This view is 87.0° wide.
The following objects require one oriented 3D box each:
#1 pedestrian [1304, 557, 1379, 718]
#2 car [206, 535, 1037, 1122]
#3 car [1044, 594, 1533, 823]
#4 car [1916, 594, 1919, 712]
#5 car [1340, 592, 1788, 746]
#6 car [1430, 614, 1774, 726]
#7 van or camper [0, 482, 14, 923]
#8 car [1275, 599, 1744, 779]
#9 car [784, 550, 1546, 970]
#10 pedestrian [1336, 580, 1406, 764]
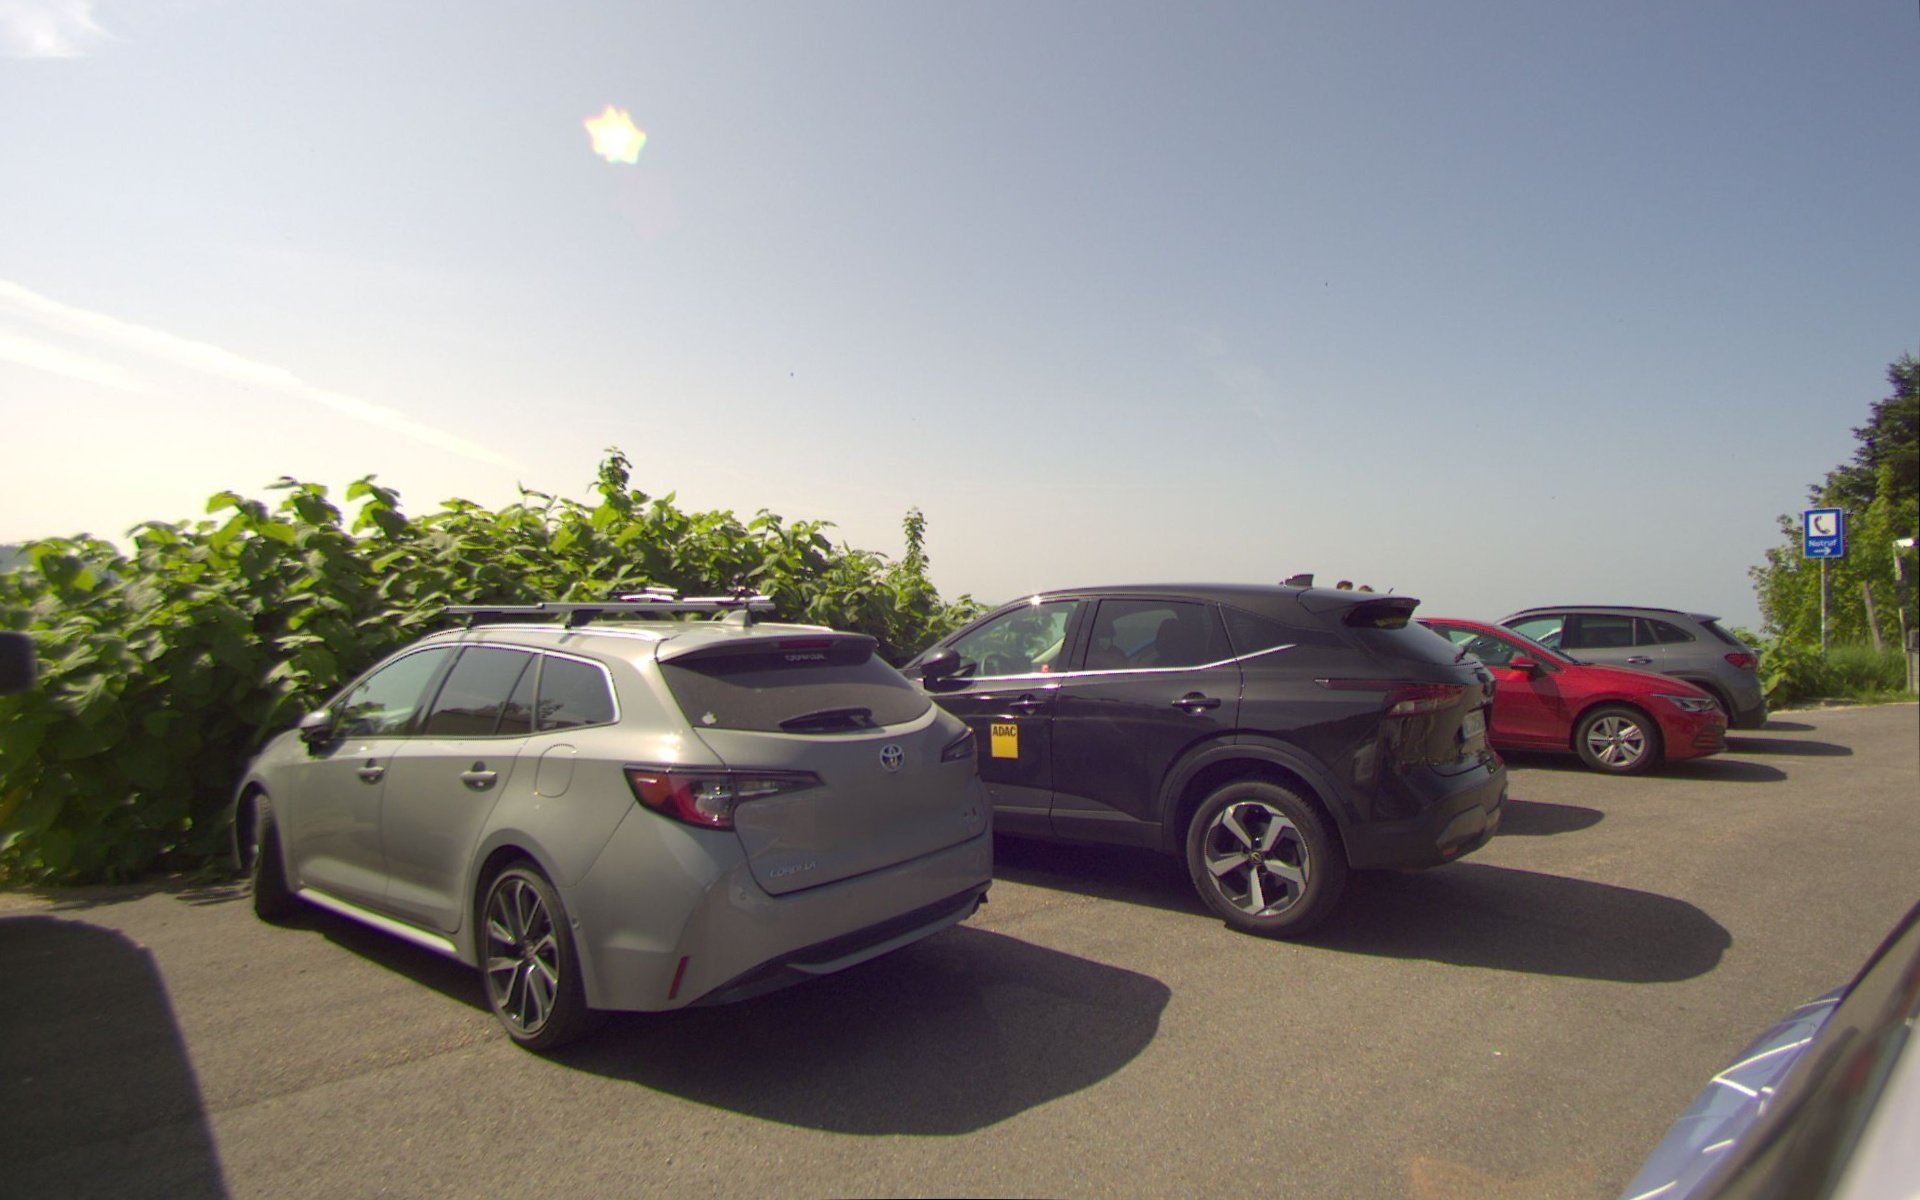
[{"bbox_3d":[4.752,0.457,12.605,0.608,1.924,0.668,-3,-2,42],"label":"pedestrian"},{"bbox_3d":[-1.832,0.667,4.739,4.140,1.609,1.682,-1,-1,38],"label":"car"},{"bbox_3d":[2.608,0.789,8.568,1.621,1.515,3.581,1,-3,-45],"label":"car"},{"bbox_3d":[15.085,0.746,12.642,4.085,1.637,1.979,0,0,12],"label":"car"},{"bbox_3d":[7.174,0.779,12.428,4.379,1.589,1.885,-2,-2,34],"label":"car"},{"bbox_3d":[9.123,0.955,14.654,3.972,1.403,1.636,-2,-2,35],"label":"car"},{"bbox_3d":[-4.107,0.472,2.915,1.850,2.040,5.095,1,-3,-42],"label":"van or camper"},{"bbox_3d":[5.531,0.787,10.501,3.973,1.529,1.819,-1,-2,35],"label":"car"},{"bbox_3d":[1.002,0.657,5.951,3.979,1.634,1.889,-1,-1,39],"label":"car"},{"bbox_3d":[4.050,0.689,9.966,0.501,1.747,0.561,-3,-2,31],"label":"pedestrian"}]
